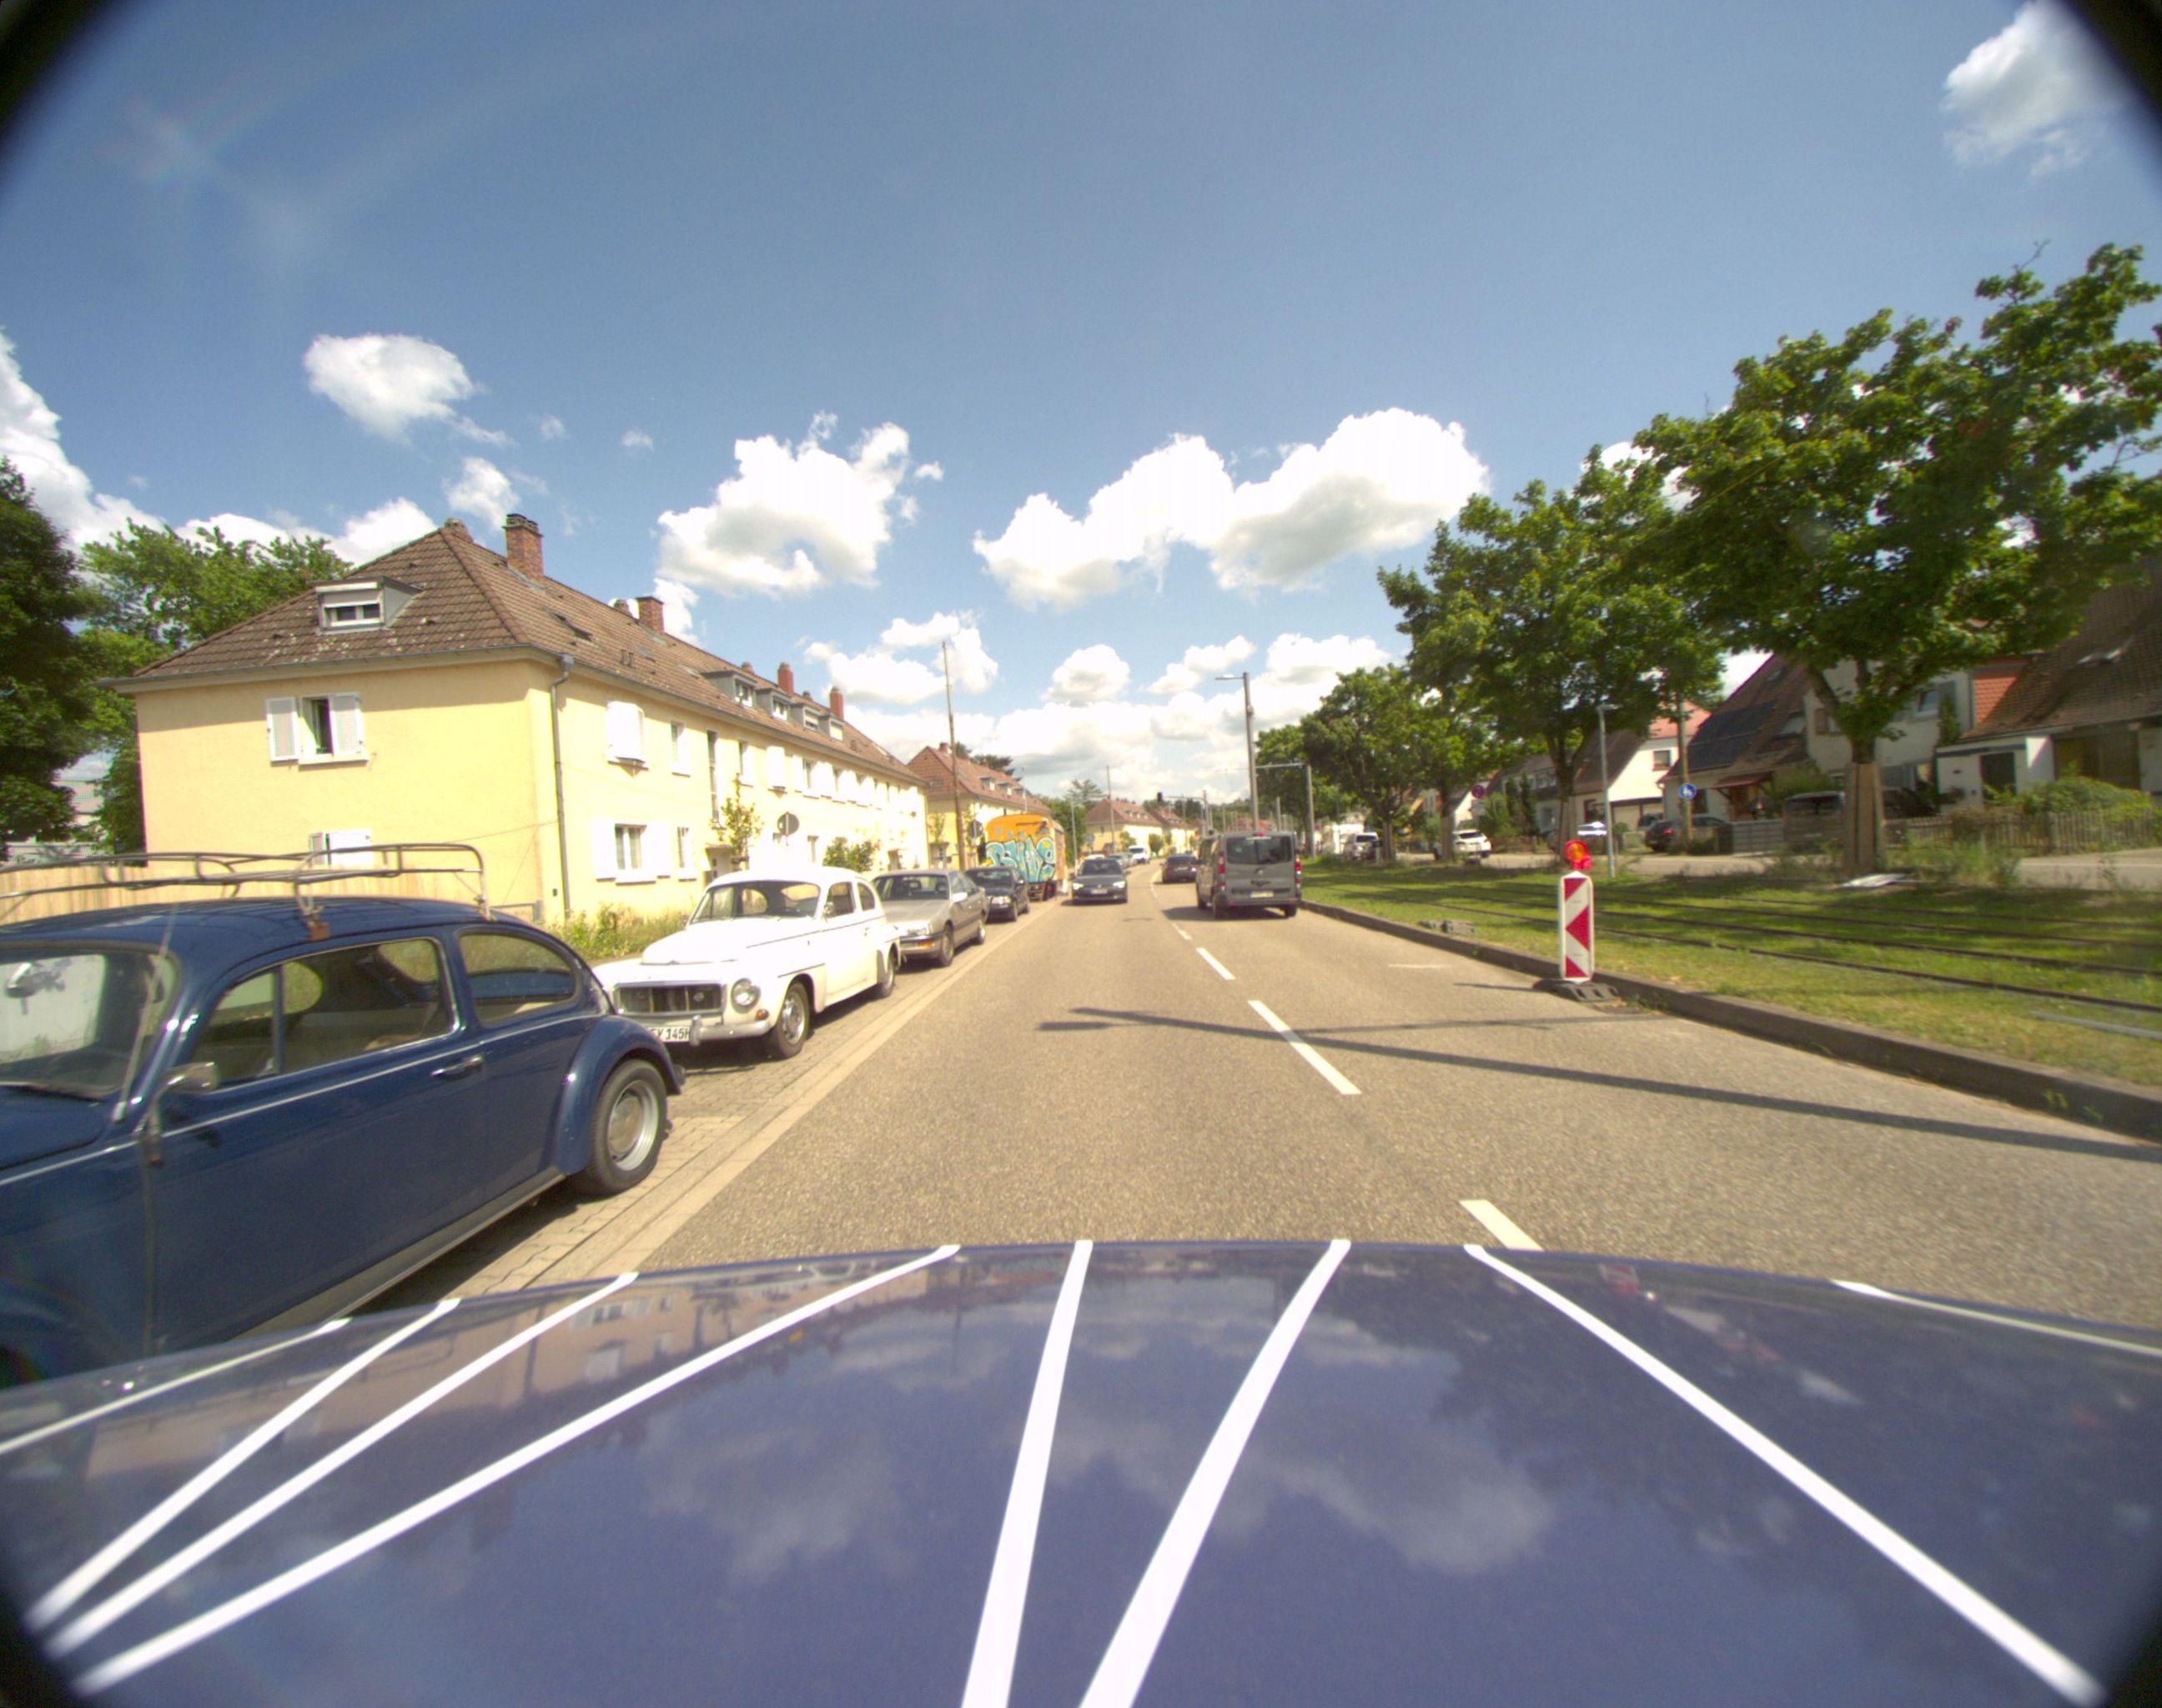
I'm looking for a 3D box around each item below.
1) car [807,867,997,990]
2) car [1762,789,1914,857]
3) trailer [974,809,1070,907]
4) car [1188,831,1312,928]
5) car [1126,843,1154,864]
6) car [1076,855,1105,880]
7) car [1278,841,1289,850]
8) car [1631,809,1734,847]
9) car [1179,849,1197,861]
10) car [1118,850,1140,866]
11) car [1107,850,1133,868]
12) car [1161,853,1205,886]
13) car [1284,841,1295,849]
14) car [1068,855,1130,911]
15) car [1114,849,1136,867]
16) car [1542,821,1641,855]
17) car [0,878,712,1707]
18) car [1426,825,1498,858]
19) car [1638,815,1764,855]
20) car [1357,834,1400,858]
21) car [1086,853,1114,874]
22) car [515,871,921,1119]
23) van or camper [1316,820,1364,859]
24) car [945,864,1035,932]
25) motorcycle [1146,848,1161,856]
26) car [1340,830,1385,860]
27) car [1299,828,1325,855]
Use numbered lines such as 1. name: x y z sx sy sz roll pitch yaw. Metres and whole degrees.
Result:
1. car: -2.648 1.030 12.513 1.711 1.441 4.835 -4 0 2
2. car: 25.685 -1.040 25.818 3.898 1.886 1.940 -5 1 -16
3. trailer: -2.066 0.131 28.462 2.696 3.208 5.083 -4 0 3
4. car: 3.946 0.529 18.693 1.960 1.955 5.293 -3 0 2
5. car: 6.942 -0.114 88.773 2.280 2.170 6.373 -3 0 13
6. car: 0.666 0.843 50.512 1.466 1.493 4.111 -3 0 7
7. car: 38.364 -1.650 143.789 1.727 1.553 4.547 -3 0 18
8. car: 32.535 -1.377 41.189 3.996 1.727 1.799 -4 0 3
9. car: 16.139 0.113 114.156 1.877 1.544 4.990 -3 0 16
10. car: 5.038 0.363 79.282 1.711 1.495 4.257 -3 0 9
11. car: 3.506 0.452 67.680 1.753 1.489 4.388 -3 0 9
12. car: 4.694 0.683 35.517 1.669 1.441 3.960 -1 0 2
13. car: 41.268 -1.760 150.312 1.727 1.553 4.649 -3 0 18
14. car: 0.690 0.869 24.888 1.742 1.513 4.702 -2 1 4
15. car: 4.328 0.386 74.397 1.631 1.541 3.812 -3 0 10
16. car: 27.741 -0.871 41.400 3.996 1.521 1.874 -4 0 3
17. car: -2.949 1.001 2.279 1.553 1.631 4.246 -4 0 -1
18. car: 22.511 -0.705 45.115 1.885 1.758 5.084 -3 0 3
19. car: 26.655 -0.796 32.754 3.892 1.448 1.736 -4 0 3
20. car: 19.535 -0.512 50.026 1.855 1.379 4.812 -4 0 13
21. car: 1.453 0.687 56.819 1.530 1.472 3.811 -3 0 9
22. car: -2.960 1.018 7.424 1.581 1.504 4.460 -4 0 2
23. van or camper: 21.341 -1.190 62.990 2.380 2.953 7.300 -3 0 8
24. car: -2.262 1.060 20.069 1.581 1.441 4.454 -4 0 2
25. motorcycle: 12.093 -0.358 126.072 2.230 1.190 0.855 -3 1 19
26. car: 20.658 -0.634 55.923 1.997 2.002 4.907 -4 0 9
27. car: 25.072 -1.349 82.672 2.157 2.653 4.919 -3 0 11
